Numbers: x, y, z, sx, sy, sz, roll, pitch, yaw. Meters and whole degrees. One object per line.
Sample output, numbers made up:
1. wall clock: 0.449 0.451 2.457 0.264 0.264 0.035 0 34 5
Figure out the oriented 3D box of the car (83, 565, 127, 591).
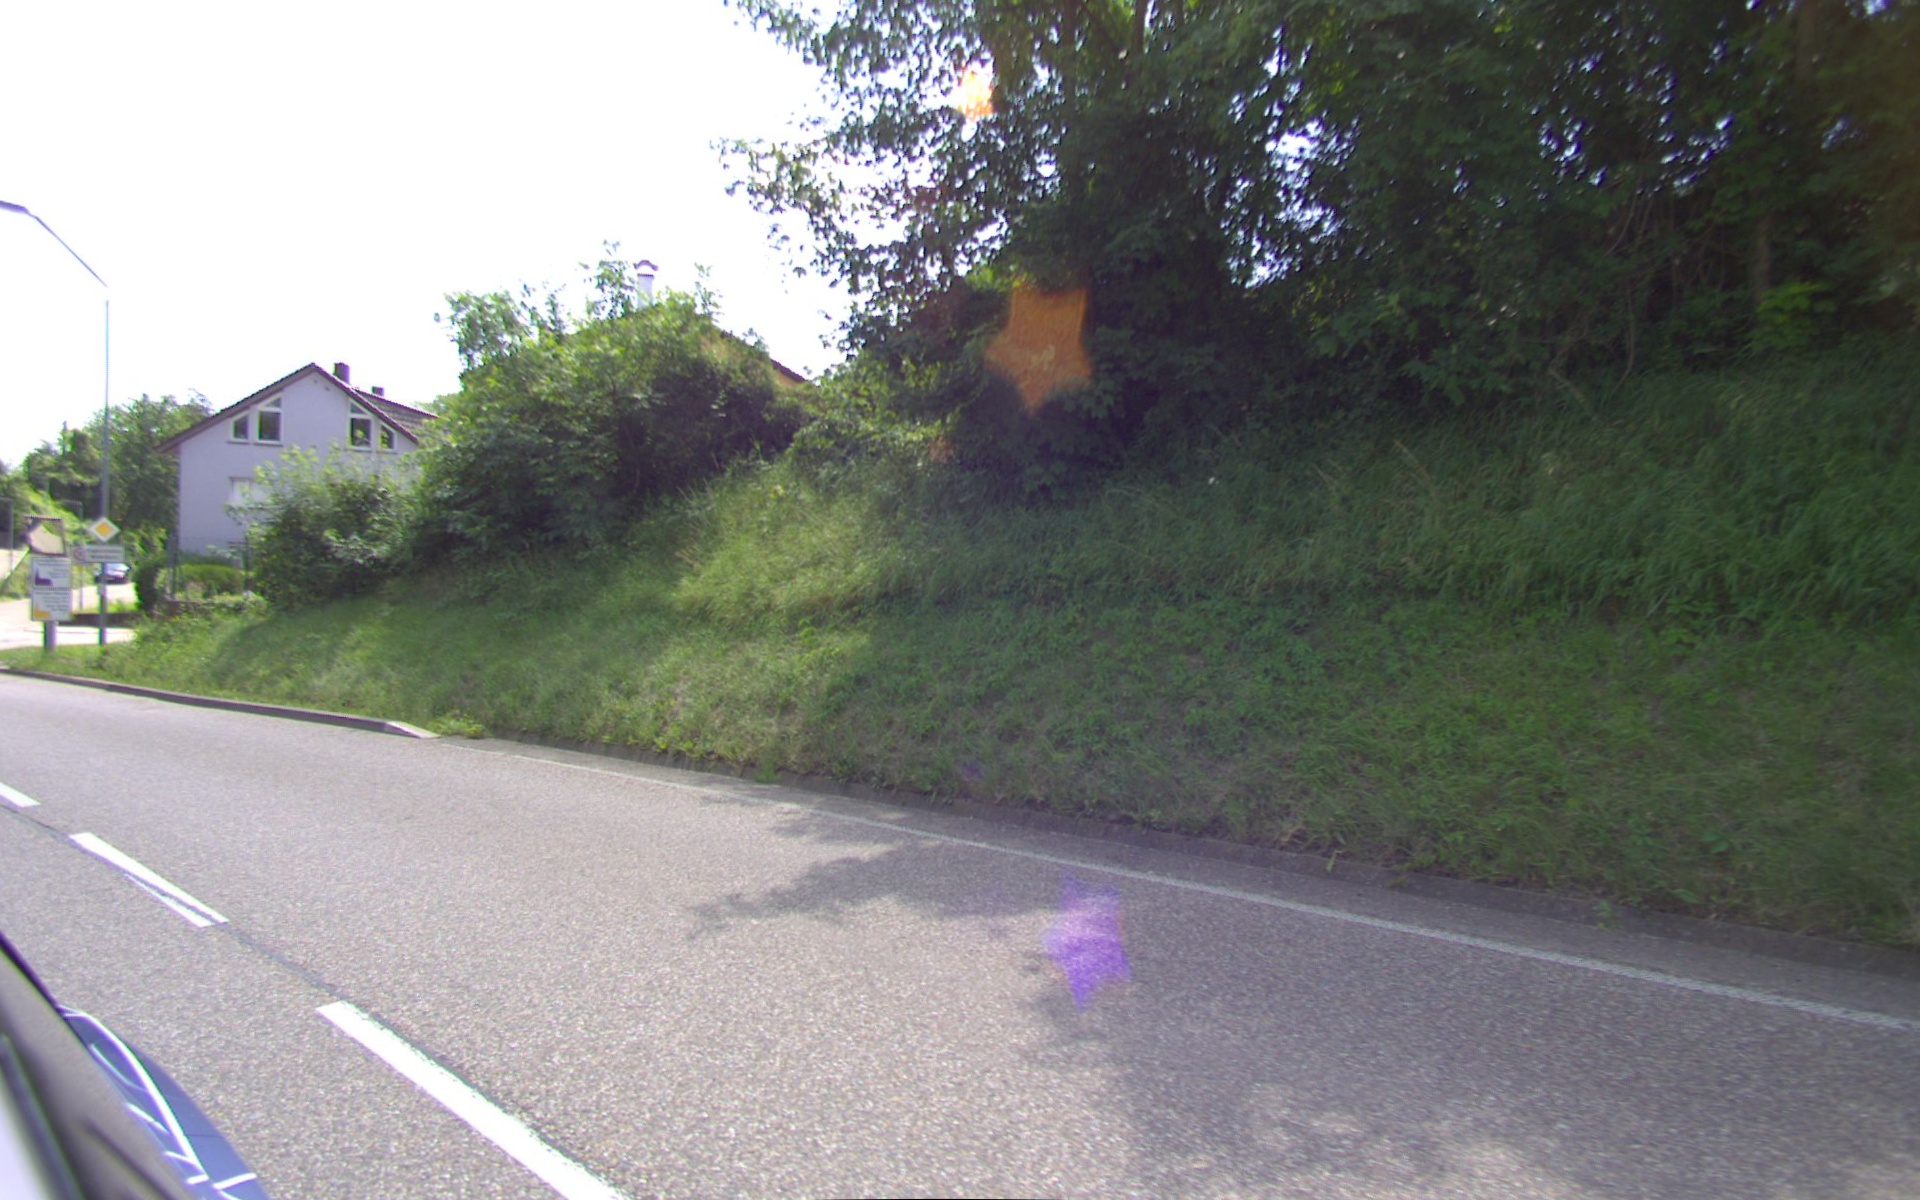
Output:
1. car: -58.188 -1.513 68.867 4.394 1.655 1.830 0 3 44
